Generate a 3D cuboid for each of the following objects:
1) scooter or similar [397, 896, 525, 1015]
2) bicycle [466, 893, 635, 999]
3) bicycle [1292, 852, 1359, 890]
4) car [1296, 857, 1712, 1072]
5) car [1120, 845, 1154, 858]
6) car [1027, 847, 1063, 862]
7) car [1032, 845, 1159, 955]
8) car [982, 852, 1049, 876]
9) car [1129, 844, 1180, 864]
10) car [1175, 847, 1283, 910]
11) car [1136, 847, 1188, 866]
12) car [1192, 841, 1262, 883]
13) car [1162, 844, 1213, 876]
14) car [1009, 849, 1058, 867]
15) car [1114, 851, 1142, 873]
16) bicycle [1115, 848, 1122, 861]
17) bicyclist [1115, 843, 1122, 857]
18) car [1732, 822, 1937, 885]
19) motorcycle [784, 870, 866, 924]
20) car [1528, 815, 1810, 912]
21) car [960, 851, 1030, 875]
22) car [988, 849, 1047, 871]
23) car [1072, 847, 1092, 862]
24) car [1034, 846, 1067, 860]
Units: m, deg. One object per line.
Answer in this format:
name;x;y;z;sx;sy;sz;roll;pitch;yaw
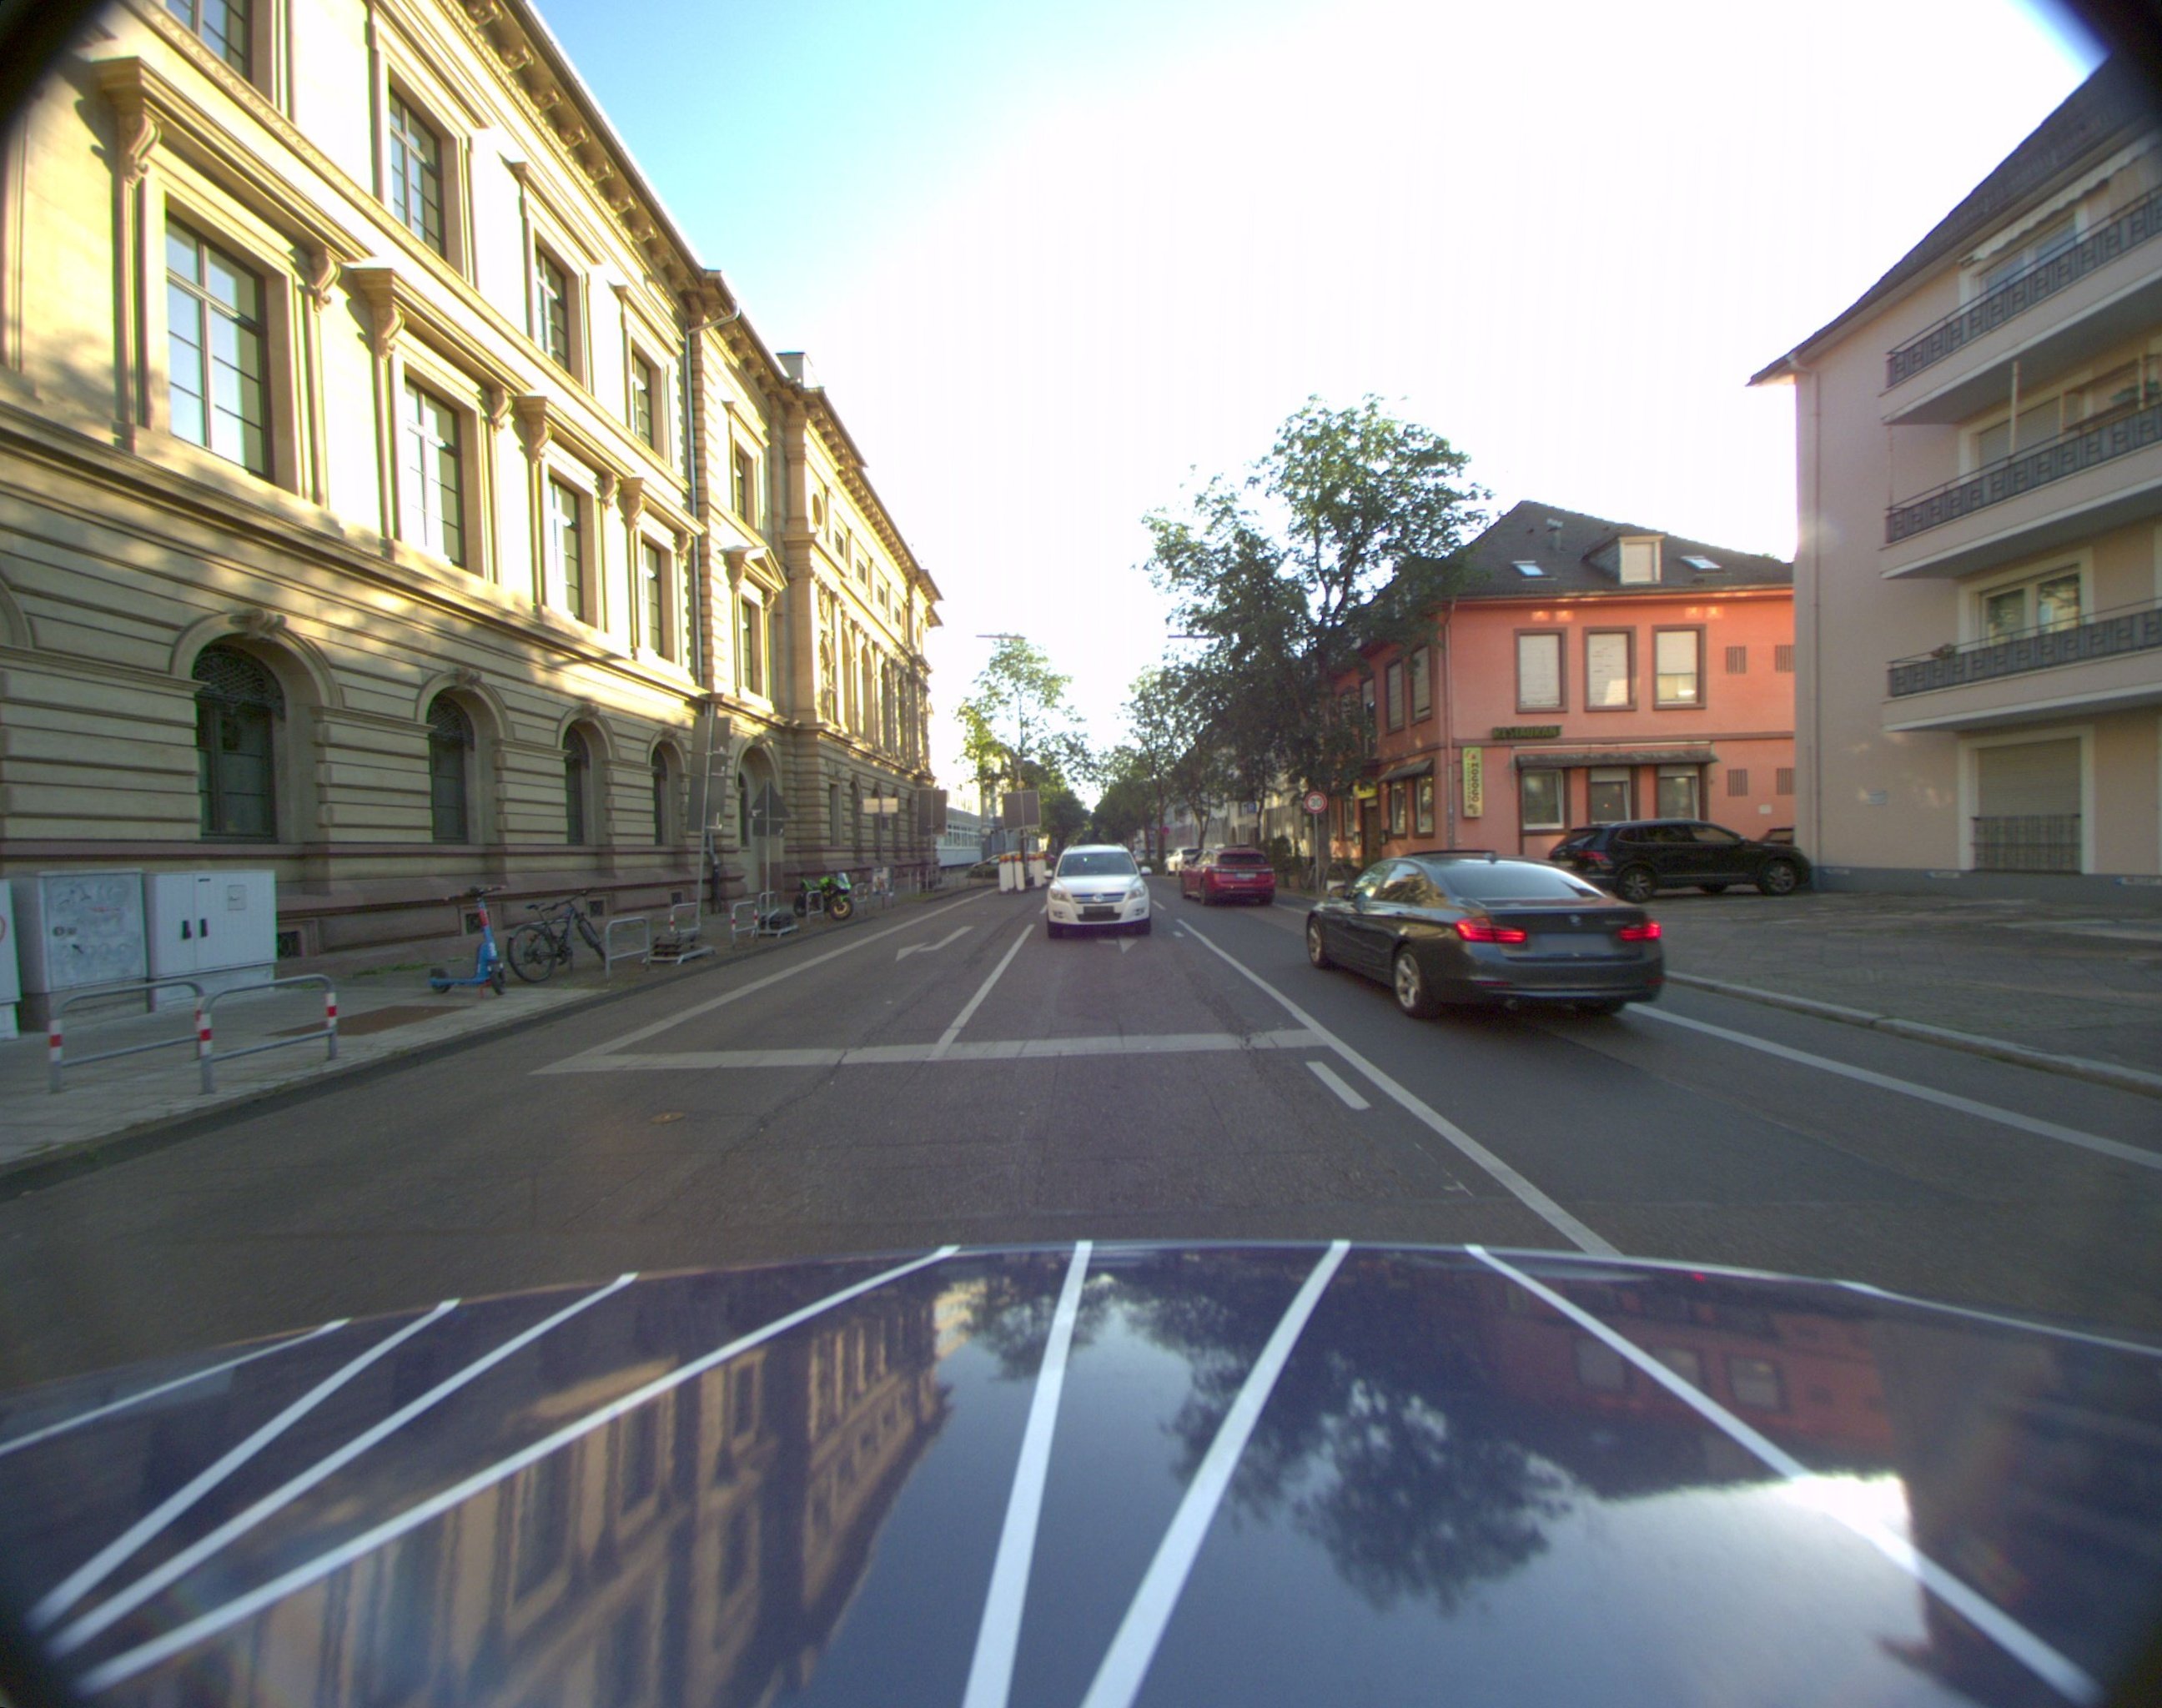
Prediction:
scooter or similar;-6.940;1.106;8.523;1.131;1.188;0.584;1;2;19
bicycle;-6.846;1.137;9.955;0.829;1.128;1.944;1;1;1
bicycle;7.641;0.522;23.792;1.872;1.098;0.610;-2;1;-6
car;3.696;0.813;7.730;1.786;1.451;4.422;-1;1;0
car;7.321;-0.349;99.224;4.230;1.654;1.800;-2;1;-2
car;-4.333;0.020;91.831;4.369;1.768;1.733;0;1;-2
car;0.264;0.700;14.191;1.957;1.667;4.542;-2;1;1
car;-4.386;0.669;51.527;4.368;1.487;1.672;1;1;0
car;6.472;-0.007;66.827;4.230;1.680;1.800;-2;1;-2
car;3.997;0.605;21.422;1.836;1.536;4.846;-1;0;-3
car;6.773;0.202;64.094;4.228;1.536;1.801;-2;1;3
car;6.983;0.351;36.921;1.833;1.749;5.045;-6;1;-6
car;6.274;0.331;45.356;1.833;1.659;4.653;-6;1;-6
car;-4.313;0.330;68.913;4.369;1.615;1.733;0;1;-2
car;3.156;0.538;51.555;1.662;1.463;3.853;-1;0;0
bicycle;3.710;0.031;75.631;0.626;1.149;2.052;-2;2;1
bicyclist;3.695;-0.405;75.620;0.626;1.357;0.929;-2;3;1
car;20.493;-0.021;20.783;3.809;1.547;1.886;-2;1;-2
motorcycle;-6.278;1.020;18.595;2.098;1.208;0.711;1;1;30
car;12.157;0.186;15.931;4.429;1.655;1.863;-3;1;-1
car;-5.473;0.592;48.905;4.369;1.456;1.833;1;1;-3
car;-4.817;0.458;57.993;4.369;1.633;2.054;1;1;-2
car;0.098;0.053;80.188;1.951;1.546;3.999;-2;0;-1
car;-4.117;-0.164;103.470;4.369;1.863;1.733;-1;1;-2
